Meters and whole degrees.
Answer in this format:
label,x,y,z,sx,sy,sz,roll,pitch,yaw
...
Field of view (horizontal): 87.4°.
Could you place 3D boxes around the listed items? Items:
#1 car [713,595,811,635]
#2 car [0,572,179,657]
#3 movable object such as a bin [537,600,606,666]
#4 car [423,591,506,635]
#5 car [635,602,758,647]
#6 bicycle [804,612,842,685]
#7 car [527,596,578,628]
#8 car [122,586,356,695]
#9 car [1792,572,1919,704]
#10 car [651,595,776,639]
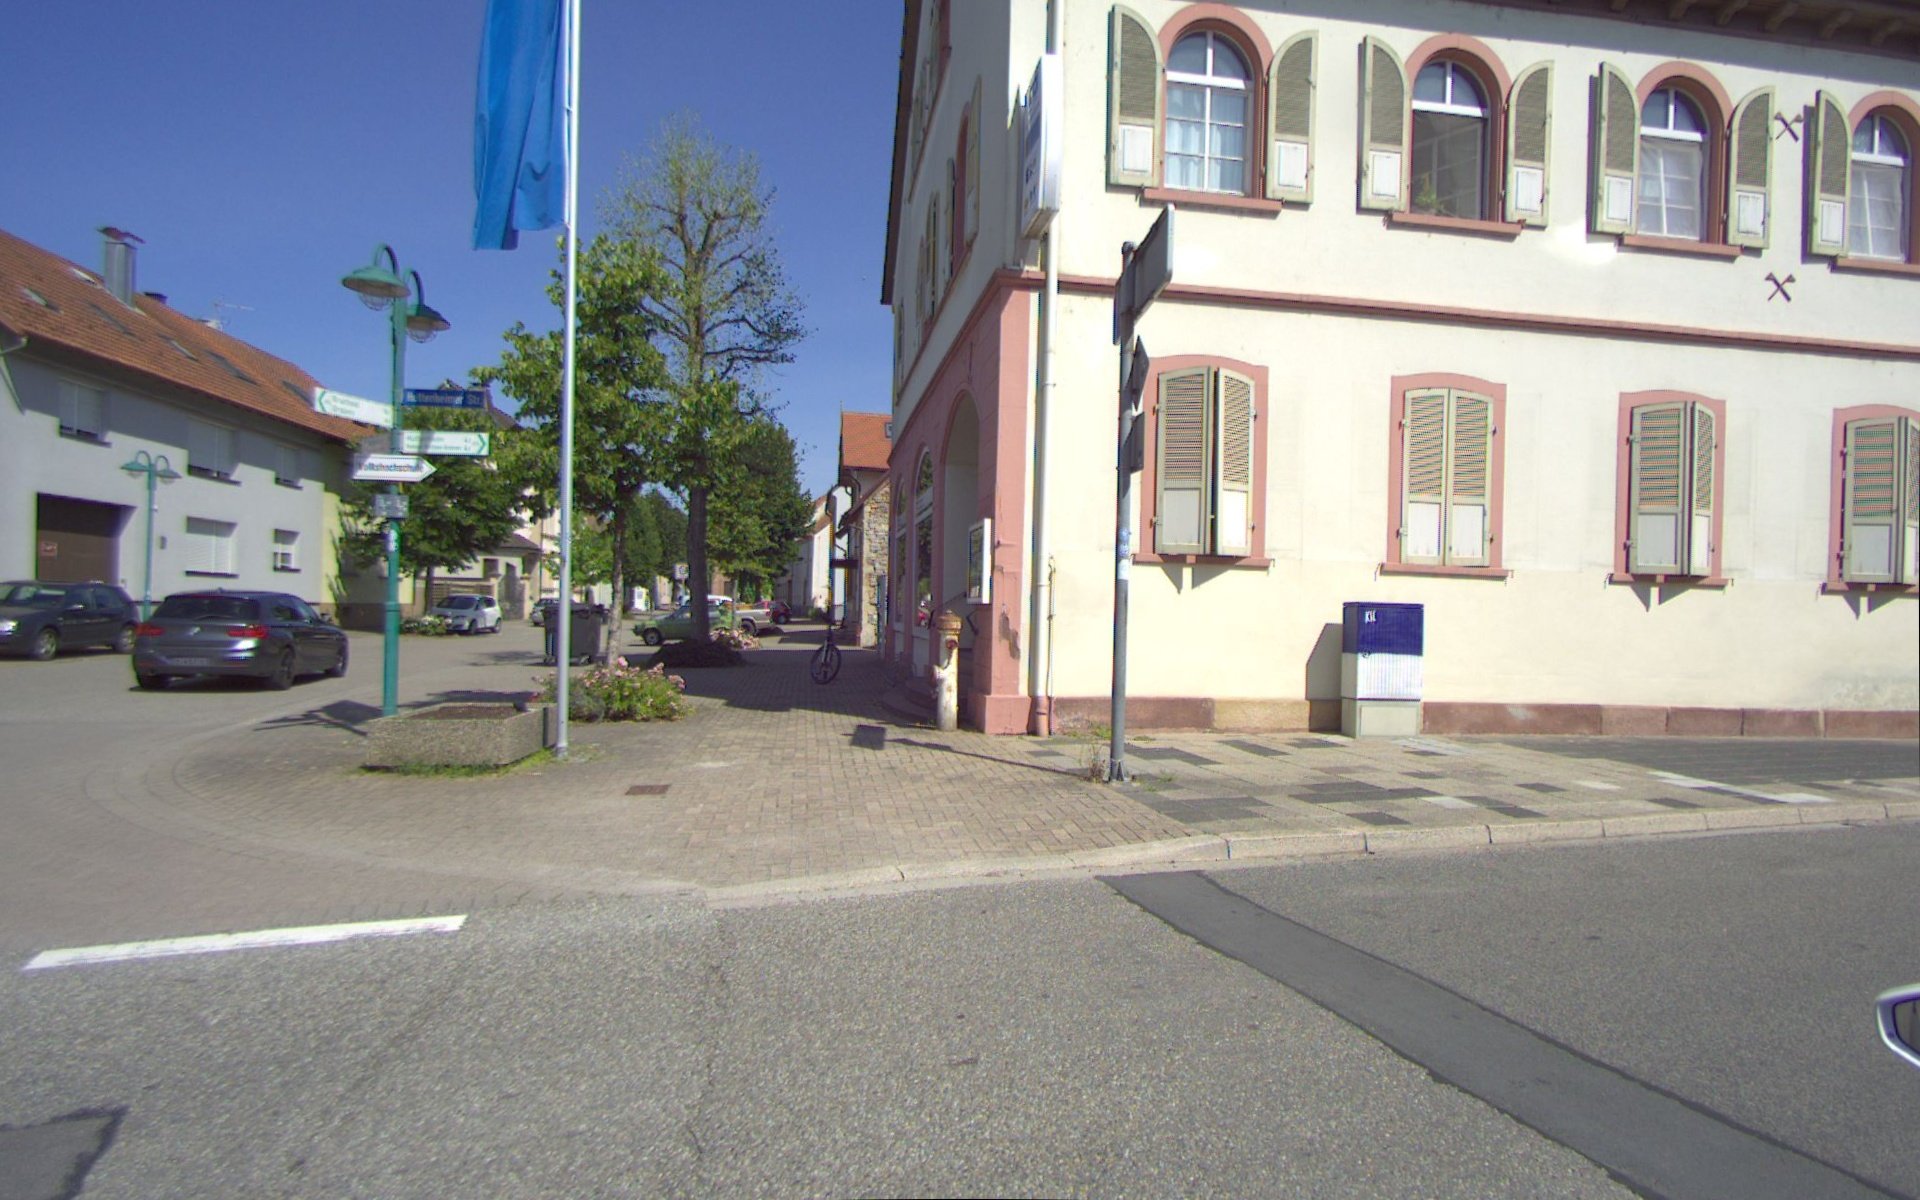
label,x,y,z,sx,sy,sz,roll,pitch,yaw
car,-8.561,0.641,43.684,4.089,1.589,1.996,1,0,-10
car,-17.785,0.237,19.796,1.958,1.460,5.193,1,0,-16
movable object such as a bin,-8.248,0.687,21.343,1.169,1.356,0.788,1,0,-6
car,-19.724,0.496,40.159,1.965,1.595,3.992,1,0,-11
car,-8.904,0.821,34.283,3.866,1.362,1.996,2,0,-10
bicycle,-2.325,0.796,17.164,0.584,1.151,1.746,1,0,-7
car,-20.825,0.591,51.435,1.968,1.483,3.986,2,0,-16
car,-10.887,0.548,15.546,1.715,1.394,4.250,3,-1,-19
car,17.184,0.669,16.618,2.083,2.226,5.185,1,1,-8
car,-9.889,0.685,40.604,4.733,1.645,1.996,1,0,-10
